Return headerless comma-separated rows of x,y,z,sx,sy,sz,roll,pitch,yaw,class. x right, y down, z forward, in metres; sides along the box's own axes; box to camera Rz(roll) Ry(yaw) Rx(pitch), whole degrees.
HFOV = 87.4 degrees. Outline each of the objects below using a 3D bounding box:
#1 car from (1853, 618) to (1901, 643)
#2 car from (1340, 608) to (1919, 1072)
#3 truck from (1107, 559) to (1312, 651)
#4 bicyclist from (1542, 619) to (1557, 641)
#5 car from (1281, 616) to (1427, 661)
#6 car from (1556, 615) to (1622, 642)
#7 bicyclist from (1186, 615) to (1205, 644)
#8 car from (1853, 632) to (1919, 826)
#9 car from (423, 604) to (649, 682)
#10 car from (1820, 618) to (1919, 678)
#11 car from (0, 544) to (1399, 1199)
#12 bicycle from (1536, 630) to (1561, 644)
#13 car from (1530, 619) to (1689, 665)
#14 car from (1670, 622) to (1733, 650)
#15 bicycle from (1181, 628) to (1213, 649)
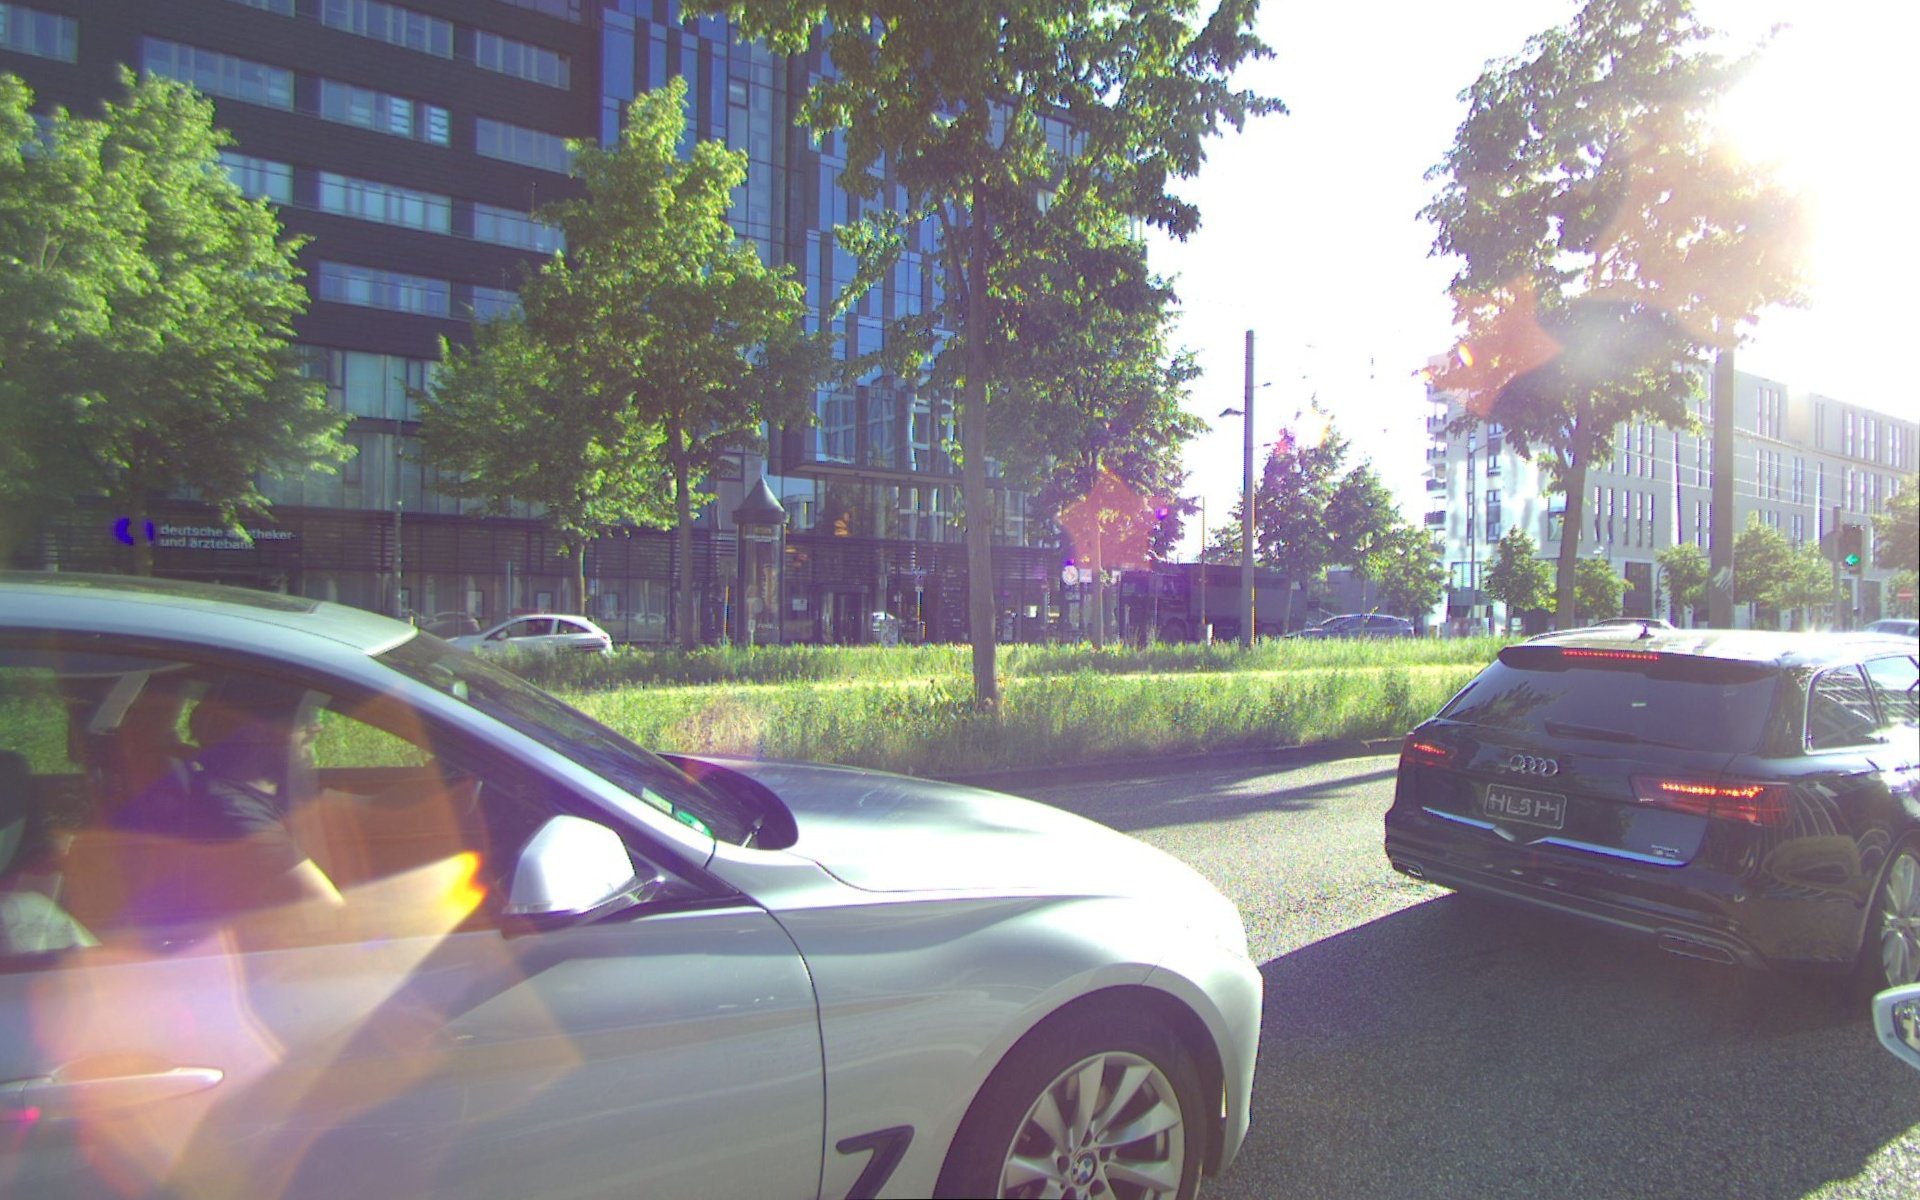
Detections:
78.094,2.589,85.527,3.953,2.040,1.984,1,-1,-30,car
4.419,0.837,5.369,4.911,1.504,1.864,1,-1,-32,car
11.696,0.299,46.494,10.094,3.904,2.877,1,-1,-31,truck
41.570,2.105,70.837,0.706,1.549,0.674,1,0,-30,bicyclist
13.842,1.340,35.432,4.483,1.467,1.803,1,-1,-6,car
37.531,1.683,59.902,3.953,1.540,1.756,1,-1,-30,car
11.895,1.501,50.768,0.811,1.443,0.475,1,-1,-30,bicyclist
9.313,1.013,8.178,4.288,1.445,1.833,1,-1,-30,car
-9.602,0.943,22.831,4.517,1.503,1.789,1,3,-32,car
25.756,1.276,27.487,1.489,1.512,4.218,1,-1,12,car
-1.334,0.698,2.016,4.509,1.504,1.810,1,-1,-31,car
41.515,2.612,70.814,1.933,1.001,0.673,1,-1,-31,bicycle
22.690,1.428,35.194,4.501,1.467,1.796,0,-1,41,car
51.468,2.509,69.678,4.319,1.838,1.984,1,-1,-30,car
11.996,1.964,50.836,1.735,1.049,0.475,1,-1,-31,bicycle
